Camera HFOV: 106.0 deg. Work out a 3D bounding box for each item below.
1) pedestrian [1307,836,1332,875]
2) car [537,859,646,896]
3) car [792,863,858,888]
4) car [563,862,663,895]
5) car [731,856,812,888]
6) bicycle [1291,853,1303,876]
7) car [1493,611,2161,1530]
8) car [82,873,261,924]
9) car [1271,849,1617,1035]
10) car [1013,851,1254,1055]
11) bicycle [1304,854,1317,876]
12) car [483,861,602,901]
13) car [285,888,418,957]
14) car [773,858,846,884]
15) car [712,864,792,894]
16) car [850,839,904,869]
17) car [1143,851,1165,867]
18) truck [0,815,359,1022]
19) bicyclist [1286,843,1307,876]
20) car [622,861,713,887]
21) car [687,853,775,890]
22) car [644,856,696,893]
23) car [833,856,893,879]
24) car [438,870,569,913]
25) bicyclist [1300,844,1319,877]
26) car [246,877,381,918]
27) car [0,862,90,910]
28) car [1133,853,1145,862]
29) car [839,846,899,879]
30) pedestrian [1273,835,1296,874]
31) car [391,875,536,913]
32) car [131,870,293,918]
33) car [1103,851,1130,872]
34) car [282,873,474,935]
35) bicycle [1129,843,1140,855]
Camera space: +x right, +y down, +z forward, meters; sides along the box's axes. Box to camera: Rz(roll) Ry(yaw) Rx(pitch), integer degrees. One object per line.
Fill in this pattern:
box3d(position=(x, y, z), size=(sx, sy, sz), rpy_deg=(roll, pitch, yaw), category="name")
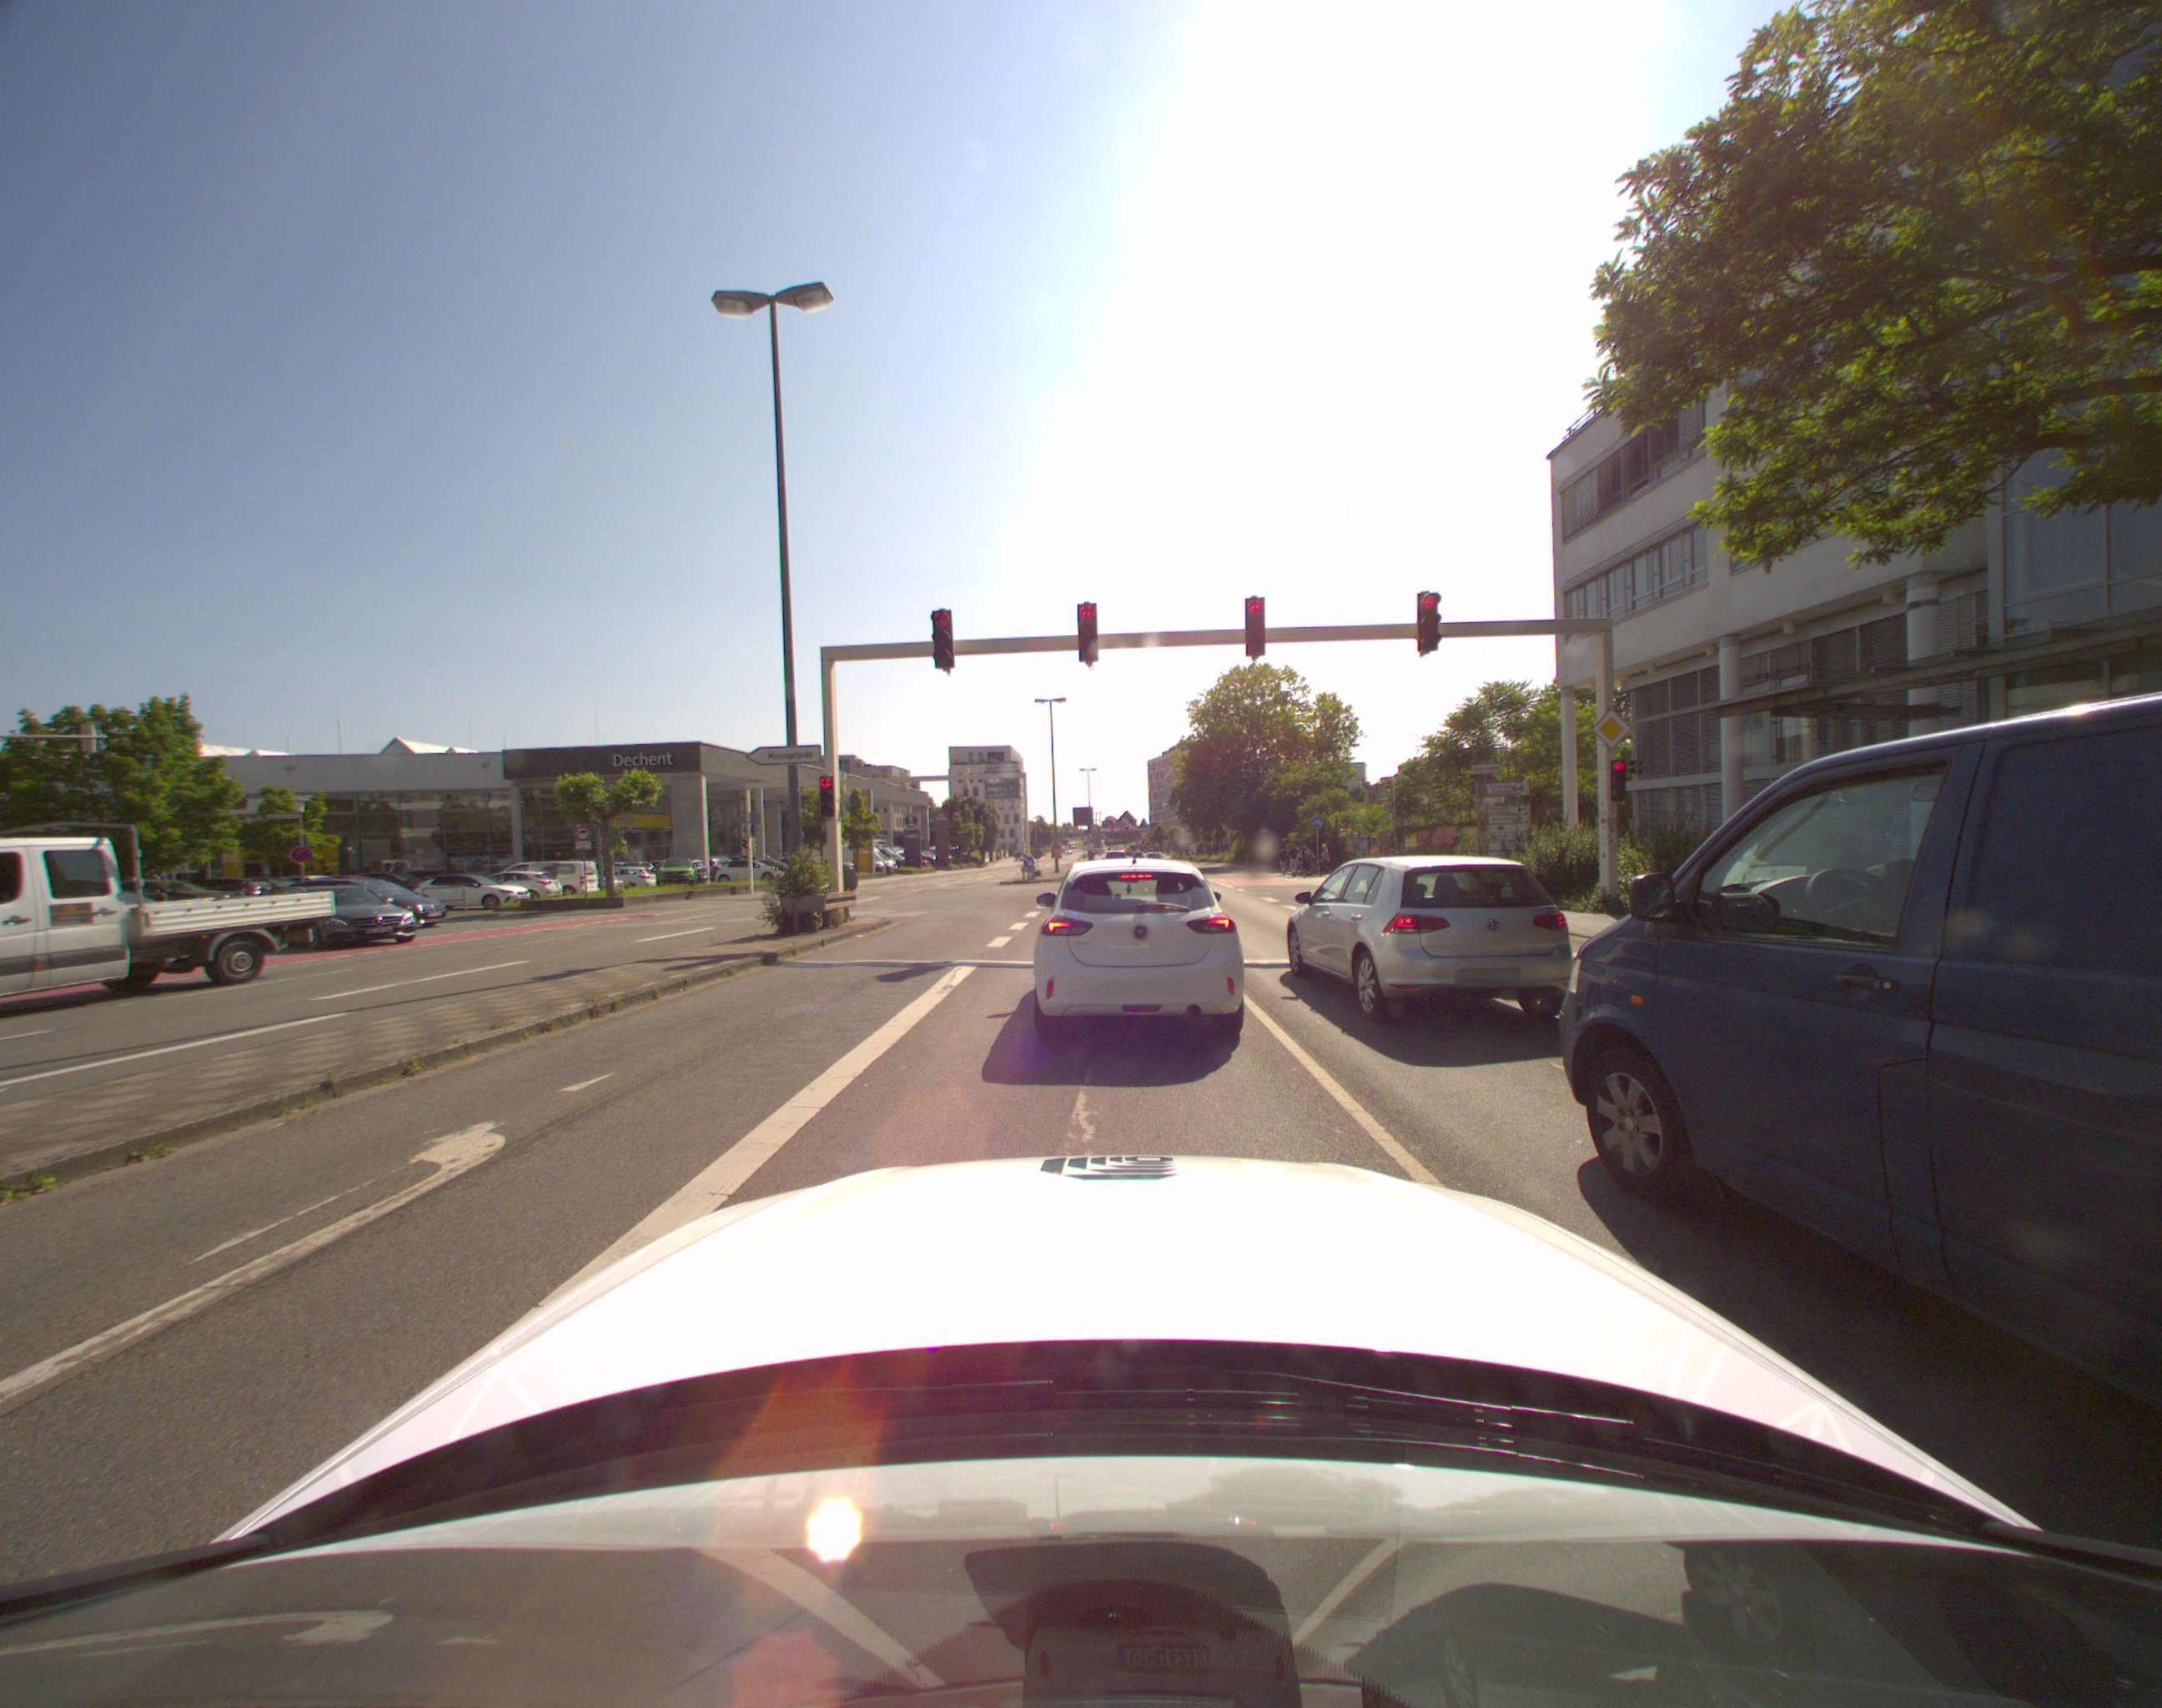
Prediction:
box3d(position=(12.561, 0.060, 42.920), size=(1.023, 2.013, 1.039), rpy_deg=(-2, 0, 1), category="pedestrian")
box3d(position=(-25.571, 1.190, 42.685), size=(4.352, 1.696, 1.995), rpy_deg=(-2, 0, -7), category="car")
box3d(position=(-19.399, 1.601, 61.865), size=(4.344, 1.696, 1.999), rpy_deg=(-2, 0, -1), category="car")
box3d(position=(-25.975, 1.328, 45.341), size=(4.351, 1.591, 1.996), rpy_deg=(-2, 0, -6), category="car")
box3d(position=(-19.437, 1.114, 51.319), size=(4.284, 1.765, 1.999), rpy_deg=(-2, 0, -1), category="car")
box3d(position=(11.650, 0.540, 43.944), size=(0.371, 1.216, 1.154), rpy_deg=(0, 0, 2), category="bicycle")
box3d(position=(3.281, 0.439, 2.152), size=(1.986, 1.948, 4.893), rpy_deg=(-2, 0, 2), category="car")
box3d(position=(-34.792, 1.680, 31.273), size=(4.348, 1.696, 1.997), rpy_deg=(-2, 0, -4), category="car")
box3d(position=(3.379, 0.716, 8.525), size=(1.801, 1.429, 3.999), rpy_deg=(-2, 0, 0), category="car")
box3d(position=(0.457, 0.734, 8.101), size=(1.772, 1.494, 4.002), rpy_deg=(-1, 0, 2), category="car")
box3d(position=(11.850, 0.555, 42.078), size=(0.372, 1.147, 1.034), rpy_deg=(0, -1, 0), category="bicycle")
box3d(position=(-26.304, 1.288, 39.916), size=(4.352, 1.696, 1.995), rpy_deg=(-2, 0, -7), category="car")
box3d(position=(-17.778, 1.573, 19.802), size=(3.949, 1.360, 1.917), rpy_deg=(0, -1, 41), category="car")
box3d(position=(-18.769, 1.157, 56.444), size=(4.343, 1.696, 1.999), rpy_deg=(-2, 0, -1), category="car")
box3d(position=(-19.595, 1.471, 48.685), size=(3.981, 1.599, 1.996), rpy_deg=(-2, 0, -5), category="car")
box3d(position=(-18.830, 0.014, 75.422), size=(4.333, 2.601, 2.004), rpy_deg=(-2, 0, 7), category="car")
box3d(position=(6.614, 0.490, 74.207), size=(1.799, 1.386, 4.001), rpy_deg=(0, -1, 2), category="car")
box3d(position=(-14.367, 0.821, 11.421), size=(2.346, 2.545, 6.445), rpy_deg=(-2, 0, 5), category="truck")
box3d(position=(11.624, 0.286, 43.988), size=(0.875, 1.772, 0.864), rpy_deg=(-2, 0, 2), category="bicyclist")
box3d(position=(-24.513, 1.198, 48.431), size=(4.351, 1.268, 1.995), rpy_deg=(-3, -2, -6), category="car")
box3d(position=(-19.079, 0.934, 44.513), size=(3.859, 1.837, 1.999), rpy_deg=(-2, 0, -1), category="car")
box3d(position=(-21.081, 1.066, 41.698), size=(1.915, 1.733, 3.258), rpy_deg=(-2, -1, -35), category="car")
box3d(position=(-18.064, 1.099, 67.600), size=(4.328, 1.696, 2.006), rpy_deg=(-2, 0, 11), category="car")
box3d(position=(-26.027, 1.658, 36.818), size=(4.348, 1.696, 1.997), rpy_deg=(-2, 0, -4), category="car")
box3d(position=(11.826, 0.324, 42.116), size=(0.687, 1.643, 0.775), rpy_deg=(-2, 0, -7), category="bicyclist")
box3d(position=(-36.467, 2.040, 38.802), size=(4.348, 1.696, 1.997), rpy_deg=(-2, 0, -4), category="car")
box3d(position=(-40.478, 1.207, 30.131), size=(4.371, 1.696, 1.987), rpy_deg=(-2, 0, -20), category="car")
box3d(position=(9.011, 0.569, 127.056), size=(1.799, 1.386, 4.001), rpy_deg=(0, -1, 2), category="car")
box3d(position=(-18.220, 0.700, 70.087), size=(4.469, 2.684, 2.135), rpy_deg=(-2, 0, 10), category="car")
box3d(position=(11.736, 0.025, 46.968), size=(1.023, 2.238, 1.039), rpy_deg=(-2, 0, 1), category="pedestrian")
box3d(position=(-25.386, 1.617, 33.614), size=(4.348, 1.299, 1.997), rpy_deg=(-2, 0, -4), category="car")
box3d(position=(-35.941, 1.625, 33.787), size=(4.348, 1.696, 1.997), rpy_deg=(-2, 0, -4), category="car")
box3d(position=(2.494, 0.551, 56.999), size=(1.799, 1.386, 4.001), rpy_deg=(1, -2, 2), category="car")
box3d(position=(-21.212, 1.474, 24.696), size=(4.107, 1.617, 1.892), rpy_deg=(-2, 0, 0), category="car")
box3d(position=(10.234, -0.986, 155.534), size=(1.986, 2.157, 4.002), rpy_deg=(-2, 0, 2), category="bicycle")
